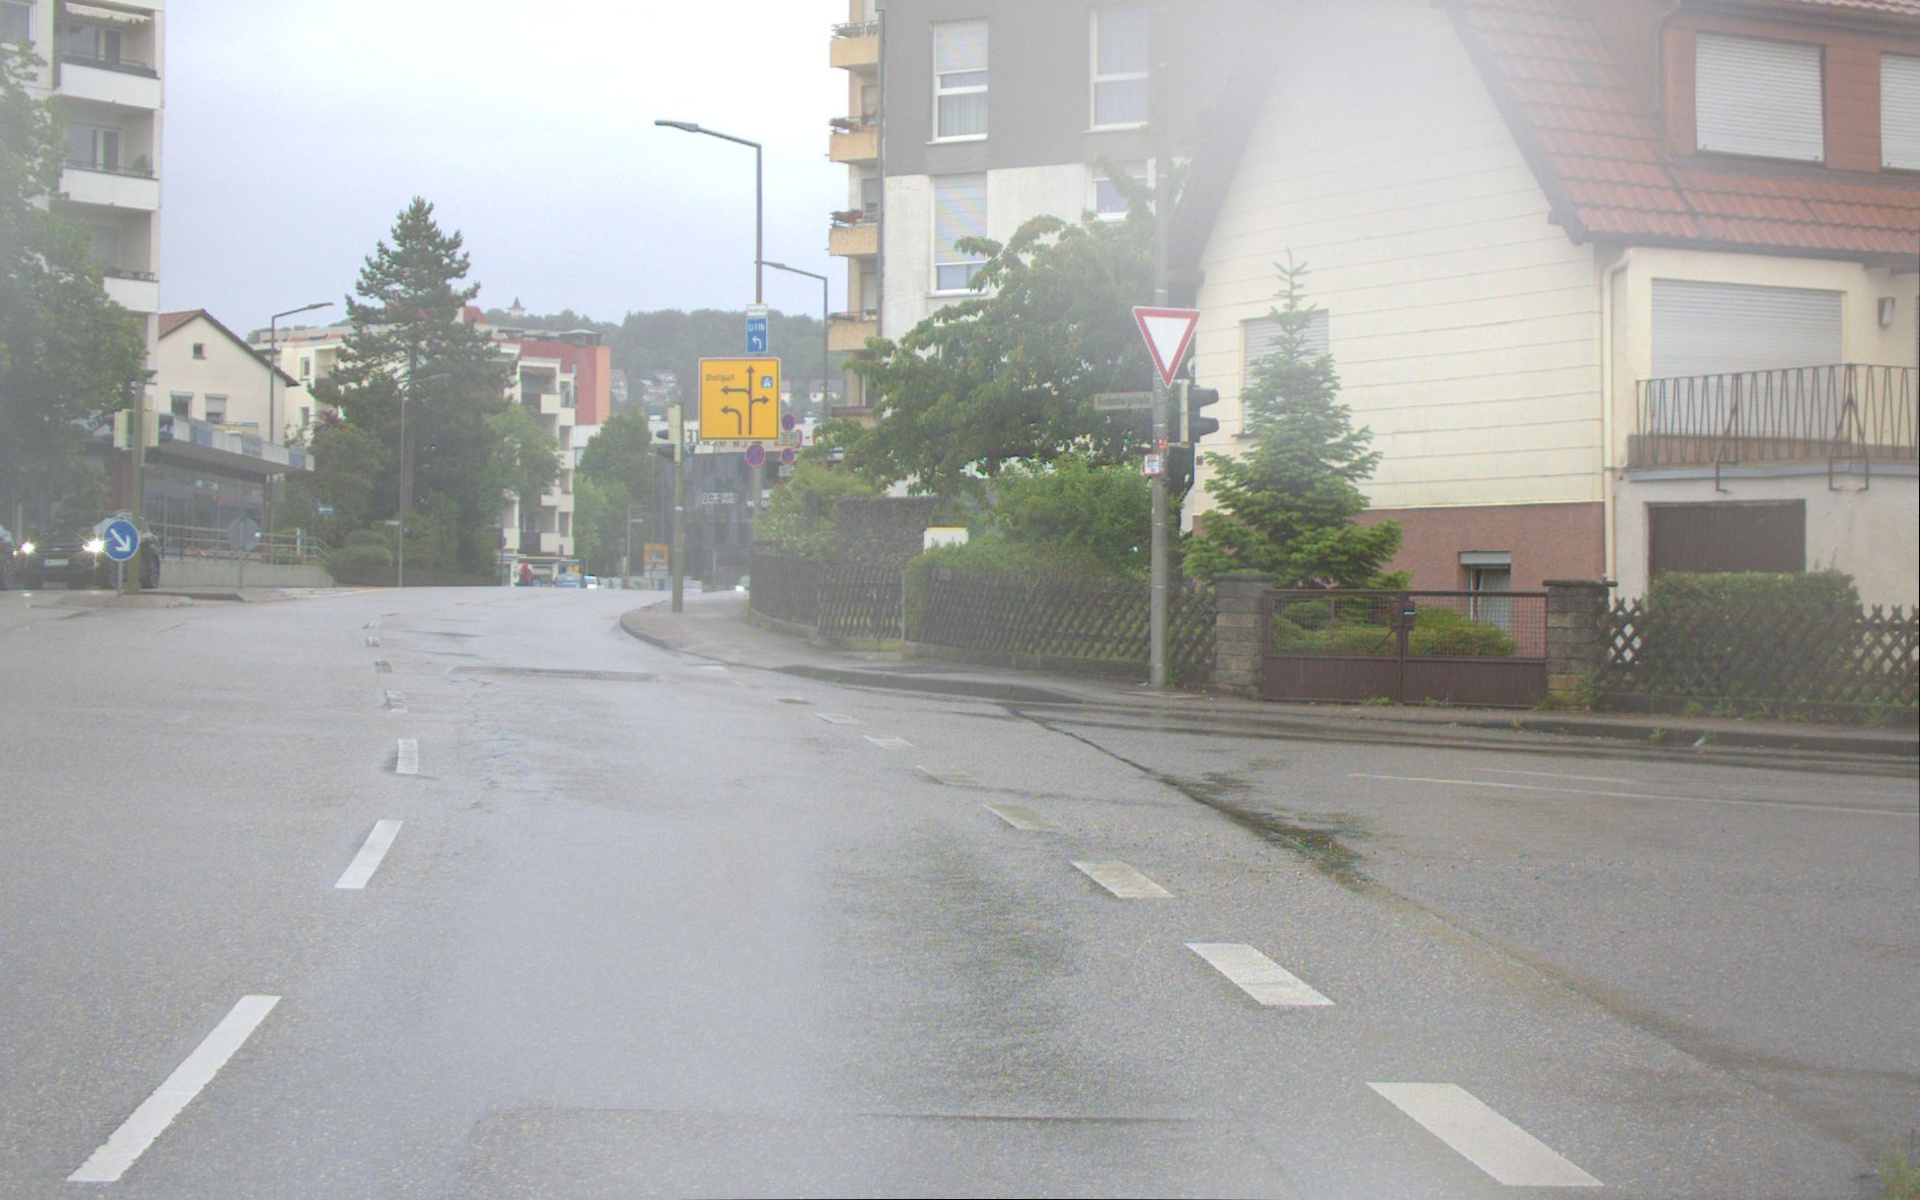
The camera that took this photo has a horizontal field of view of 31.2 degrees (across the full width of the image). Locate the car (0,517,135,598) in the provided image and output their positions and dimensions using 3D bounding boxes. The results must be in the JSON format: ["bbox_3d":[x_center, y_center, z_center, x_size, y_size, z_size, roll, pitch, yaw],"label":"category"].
[{"bbox_3d":[-18.319,-0.872,70.579,1.879,1.592,4.185,1,1,-2],"label":"car"}]

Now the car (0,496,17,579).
[{"bbox_3d":[-18.446,-1.144,61.578,1.967,1.507,4.000,1,1,1],"label":"car"}]
